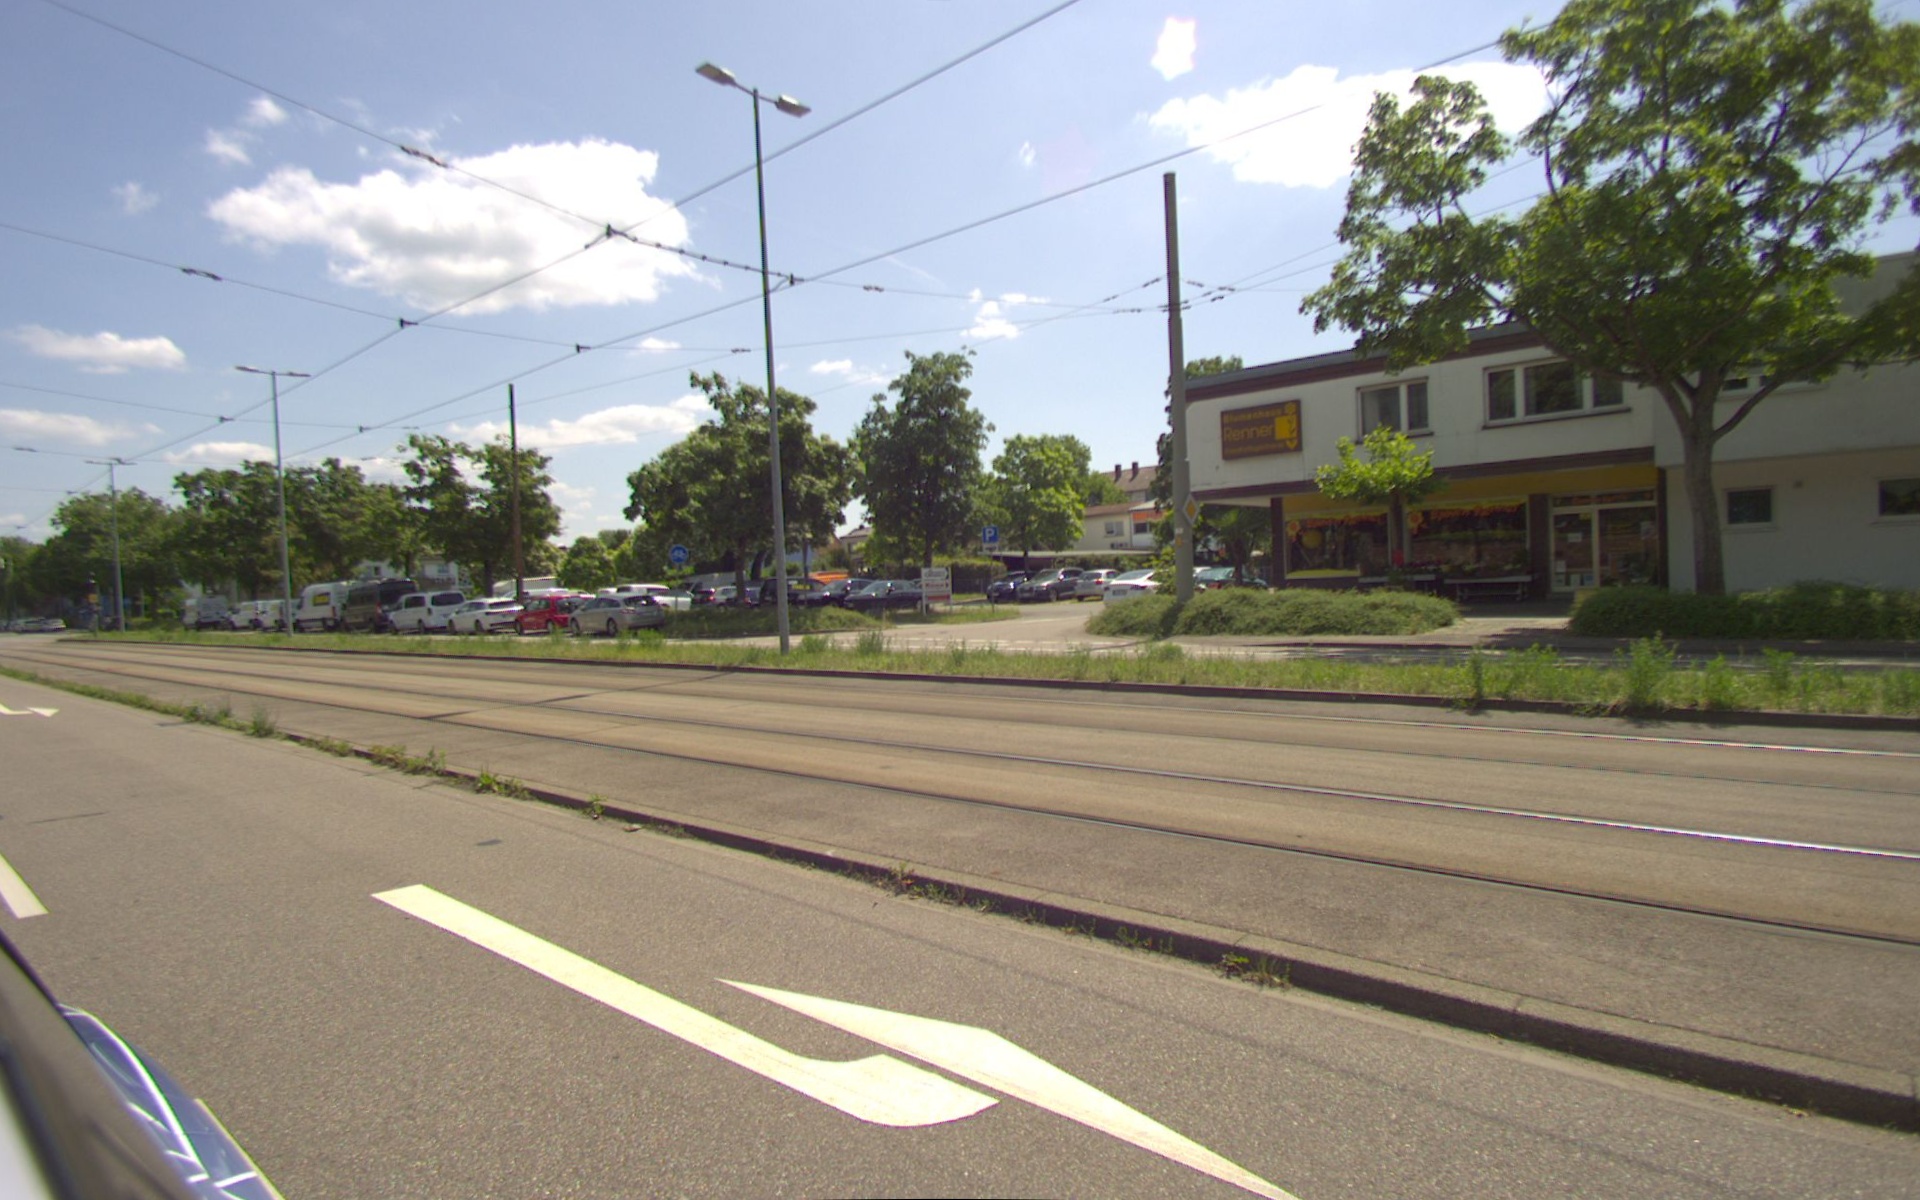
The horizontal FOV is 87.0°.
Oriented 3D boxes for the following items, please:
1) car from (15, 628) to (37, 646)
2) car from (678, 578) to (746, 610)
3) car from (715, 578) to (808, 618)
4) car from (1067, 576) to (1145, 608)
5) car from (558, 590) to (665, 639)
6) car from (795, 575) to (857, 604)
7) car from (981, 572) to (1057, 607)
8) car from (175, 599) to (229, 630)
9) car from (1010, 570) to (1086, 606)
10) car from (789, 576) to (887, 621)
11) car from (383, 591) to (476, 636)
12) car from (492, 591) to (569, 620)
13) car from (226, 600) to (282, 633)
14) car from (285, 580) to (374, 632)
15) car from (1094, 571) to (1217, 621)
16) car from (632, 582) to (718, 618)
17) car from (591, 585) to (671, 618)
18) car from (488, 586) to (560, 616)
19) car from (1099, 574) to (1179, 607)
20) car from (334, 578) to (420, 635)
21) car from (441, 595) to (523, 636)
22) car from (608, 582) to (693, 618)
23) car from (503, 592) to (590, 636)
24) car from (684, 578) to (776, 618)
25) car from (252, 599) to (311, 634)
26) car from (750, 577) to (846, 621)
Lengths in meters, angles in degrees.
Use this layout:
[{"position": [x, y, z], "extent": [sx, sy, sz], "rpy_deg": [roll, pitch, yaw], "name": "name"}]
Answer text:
[{"position": [-95.646, 3.748, 103.631], "extent": [1.658, 1.702, 3.549], "rpy_deg": [-1, 0, -43], "name": "car"}, {"position": [-17.757, -0.448, 72.654], "extent": [1.849, 2.241, 4.595], "rpy_deg": [-1, 0, 38], "name": "car"}, {"position": [-9.155, -0.103, 46.956], "extent": [1.803, 1.749, 3.945], "rpy_deg": [-1, 0, 41], "name": "car"}, {"position": [7.274, -0.426, 50.178], "extent": [1.907, 1.412, 3.943], "rpy_deg": [-1, 1, 43], "name": "car"}, {"position": [-12.576, 0.497, 36.404], "extent": [4.550, 1.550, 1.560], "rpy_deg": [-1, 4, 42], "name": "car"}, {"position": [-8.377, -0.666, 63.470], "extent": [1.759, 1.749, 3.699], "rpy_deg": [-1, 0, 38], "name": "car"}, {"position": [3.113, -0.571, 52.892], "extent": [1.804, 1.749, 3.942], "rpy_deg": [-1, 0, 44], "name": "car"}, {"position": [-56.248, 1.054, 75.095], "extent": [4.485, 2.116, 2.046], "rpy_deg": [-1, 4, 39], "name": "car"}, {"position": [4.480, -0.594, 51.242], "extent": [1.721, 1.749, 3.942], "rpy_deg": [-1, 0, 44], "name": "car"}, {"position": [-5.213, -0.092, 43.499], "extent": [1.803, 1.749, 3.945], "rpy_deg": [-1, 1, 41], "name": "car"}, {"position": [-24.784, 0.603, 47.218], "extent": [4.886, 1.850, 2.129], "rpy_deg": [-1, 4, 41], "name": "car"}, {"position": [-27.058, 0.309, 63.851], "extent": [1.803, 1.749, 4.145], "rpy_deg": [-1, 0, 41], "name": "car"}, {"position": [-46.744, 1.080, 67.005], "extent": [4.485, 1.953, 1.773], "rpy_deg": [-1, 4, 39], "name": "car"}, {"position": [-35.400, 0.344, 56.744], "extent": [6.700, 2.630, 2.129], "rpy_deg": [-1, 4, 40], "name": "car"}, {"position": [6.520, -0.154, 33.497], "extent": [1.907, 1.445, 4.425], "rpy_deg": [-1, 1, 43], "name": "car"}, {"position": [-14.771, -0.017, 52.587], "extent": [1.803, 1.749, 3.945], "rpy_deg": [-1, 0, 41], "name": "car"}, {"position": [-18.390, 0.056, 56.676], "extent": [1.803, 1.749, 3.945], "rpy_deg": [-1, 0, 41], "name": "car"}, {"position": [-39.720, 0.069, 92.281], "extent": [2.257, 2.500, 5.629], "rpy_deg": [-2, 1, 38], "name": "car"}, {"position": [8.606, -0.479, 48.561], "extent": [1.907, 1.412, 3.943], "rpy_deg": [-1, 1, 43], "name": "car"}, {"position": [-29.505, 0.327, 51.139], "extent": [5.031, 2.630, 2.129], "rpy_deg": [-1, 4, 41], "name": "car"}, {"position": [-20.156, 0.649, 42.592], "extent": [4.358, 1.550, 1.483], "rpy_deg": [-1, 4, 42], "name": "car"}, {"position": [-16.642, 0.004, 54.570], "extent": [1.902, 1.749, 3.945], "rpy_deg": [-1, 1, 41], "name": "car"}, {"position": [-16.320, 0.554, 39.892], "extent": [3.644, 1.550, 1.485], "rpy_deg": [-1, 4, 38], "name": "car"}, {"position": [-10.992, -0.106, 48.506], "extent": [1.803, 1.749, 3.945], "rpy_deg": [-1, 1, 41], "name": "car"}, {"position": [-41.913, 0.993, 62.509], "extent": [4.647, 1.953, 1.772], "rpy_deg": [-1, 4, 41], "name": "car"}, {"position": [-7.233, -0.062, 45.425], "extent": [1.878, 1.749, 3.945], "rpy_deg": [-1, 1, 41], "name": "car"}]
